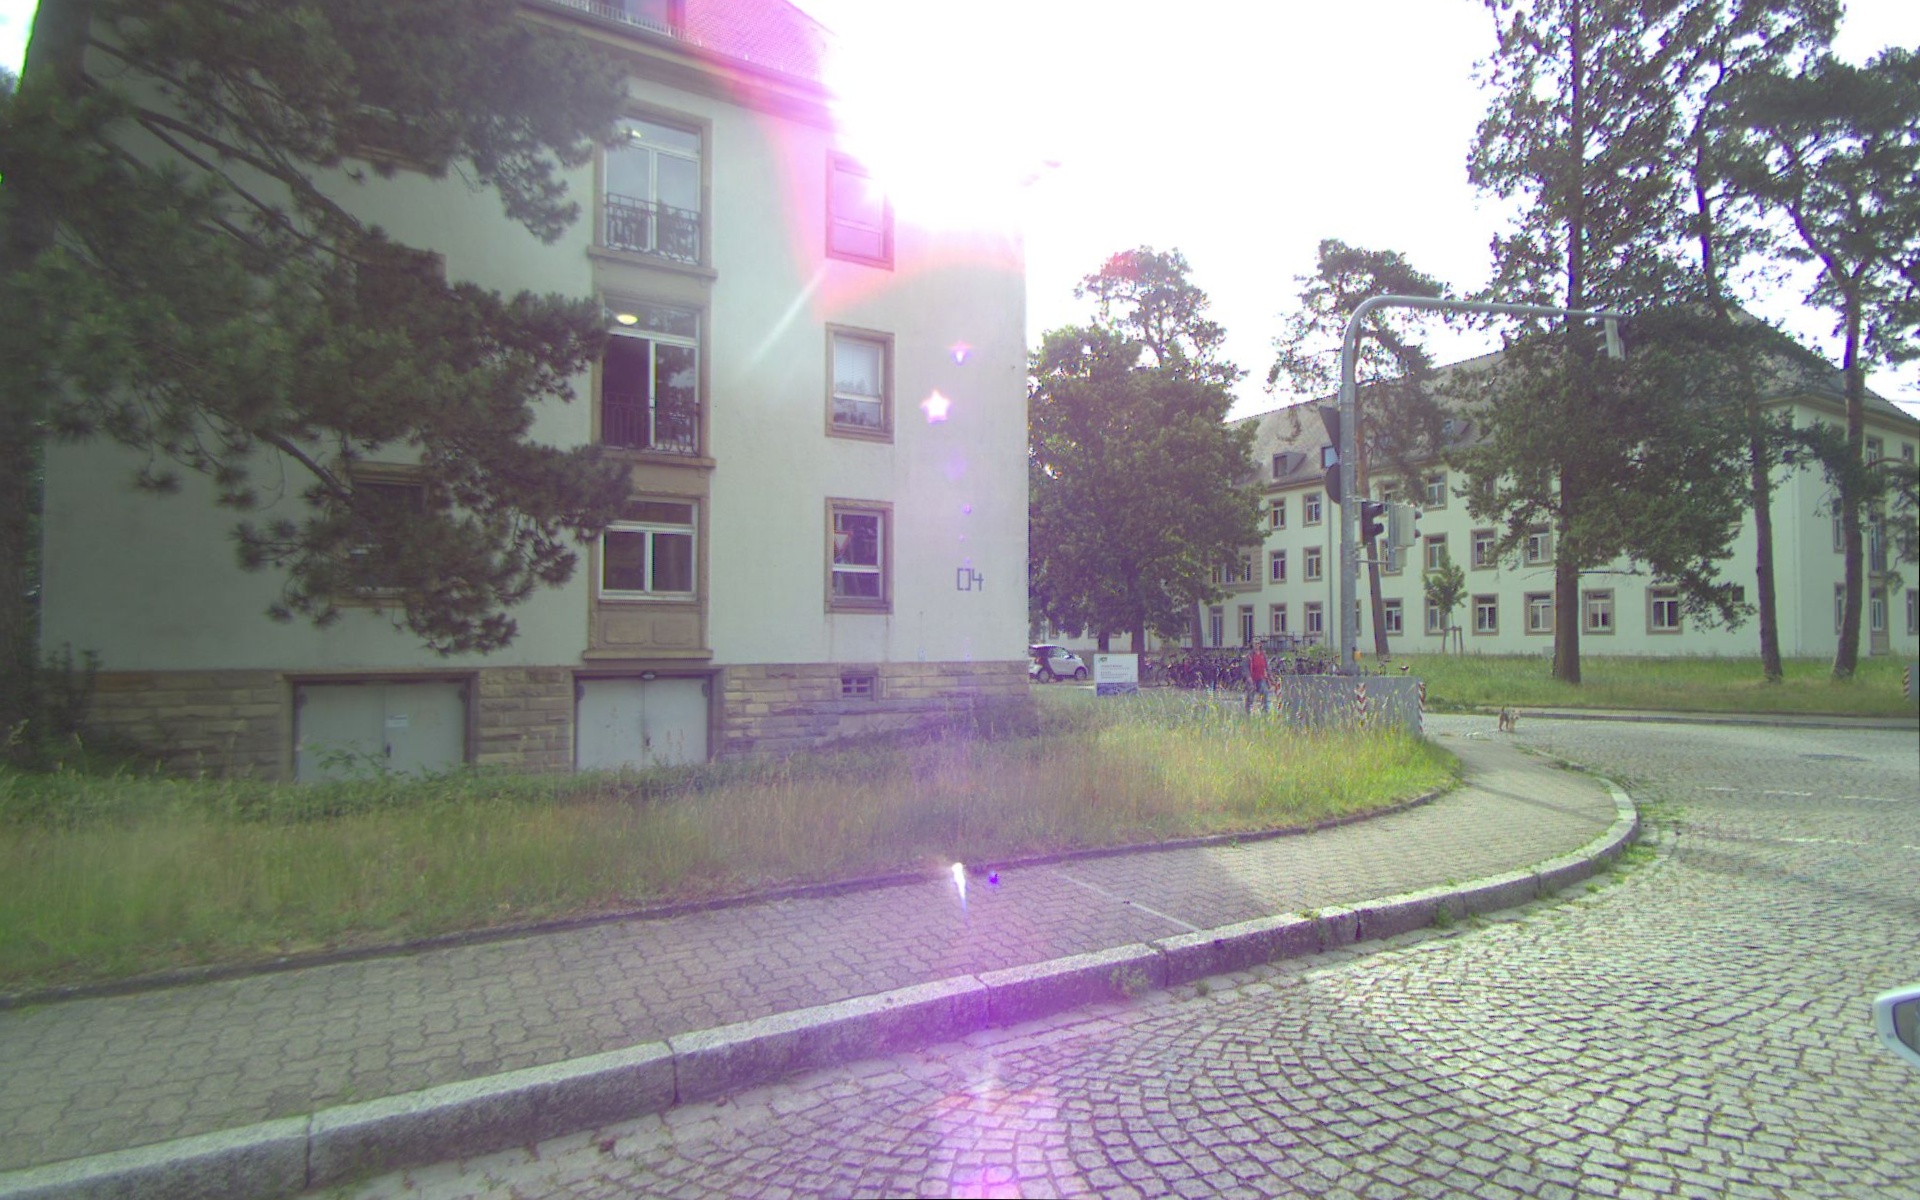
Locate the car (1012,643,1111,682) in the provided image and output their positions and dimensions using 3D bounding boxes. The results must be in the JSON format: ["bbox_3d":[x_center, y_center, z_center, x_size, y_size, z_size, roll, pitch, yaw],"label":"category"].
[{"bbox_3d":[4.327,2.633,42.598,3.851,1.576,1.831,1,-3,-30],"label":"car"}]

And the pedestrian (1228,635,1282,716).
[{"bbox_3d":[6.321,1.606,21.559,0.921,1.690,0.863,0,-2,3],"label":"pedestrian"}]

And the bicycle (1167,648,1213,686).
[{"bbox_3d":[7.889,2.287,34.436,1.677,1.300,0.447,1,-3,-32],"label":"bicycle"}]

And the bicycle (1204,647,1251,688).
[{"bbox_3d":[8.792,2.207,32.983,1.677,1.300,0.447,1,-3,-32],"label":"bicycle"}]

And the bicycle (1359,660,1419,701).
[{"bbox_3d":[11.164,2.079,26.171,0.447,1.009,1.453,1,-3,-29],"label":"bicycle"}]

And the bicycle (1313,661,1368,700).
[{"bbox_3d":[10.390,2.197,27.480,0.447,1.009,1.453,1,-3,-29],"label":"bicycle"}]

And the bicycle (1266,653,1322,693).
[{"bbox_3d":[10.192,2.217,30.644,1.909,1.193,0.525,1,-3,-32],"label":"bicycle"}]

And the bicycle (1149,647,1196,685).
[{"bbox_3d":[7.482,2.306,35.279,1.807,1.300,0.447,1,-3,-32],"label":"bicycle"}]

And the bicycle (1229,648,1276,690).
[{"bbox_3d":[9.368,2.193,32.143,1.677,1.300,0.447,1,-3,-32],"label":"bicycle"}]

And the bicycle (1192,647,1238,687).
[{"bbox_3d":[8.493,2.216,33.459,1.677,1.300,0.447,1,-3,-32],"label":"bicycle"}]

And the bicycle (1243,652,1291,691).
[{"bbox_3d":[9.632,2.231,31.469,1.677,1.193,0.447,1,-3,-32],"label":"bicycle"}]

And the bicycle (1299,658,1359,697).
[{"bbox_3d":[10.866,2.263,29.559,1.974,1.092,0.572,1,-3,-32],"label":"bicycle"}]

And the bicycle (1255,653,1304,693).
[{"bbox_3d":[9.889,2.237,31.059,1.677,1.193,0.447,1,-3,-32],"label":"bicycle"}]

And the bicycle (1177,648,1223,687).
[{"bbox_3d":[8.141,2.280,34.020,1.677,1.300,0.447,1,-3,-32],"label":"bicycle"}]

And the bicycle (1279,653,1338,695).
[{"bbox_3d":[10.458,2.206,30.124,1.932,1.193,0.572,1,-3,-32],"label":"bicycle"}]

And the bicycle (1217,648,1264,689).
[{"bbox_3d":[9.083,2.200,32.559,1.677,1.300,0.447,1,-3,-32],"label":"bicycle"}]

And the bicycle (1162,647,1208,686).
[{"bbox_3d":[7.823,2.302,34.945,1.765,1.300,0.440,1,-3,-32],"label":"bicycle"}]

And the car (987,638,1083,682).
[{"bbox_3d":[3.425,2.733,45.975,4.087,1.932,1.831,1,-3,-30],"label":"car"}]

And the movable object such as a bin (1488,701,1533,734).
[{"bbox_3d":[9.862,2.101,18.015,0.436,0.510,0.752,-1,-1,5],"label":"movable object such as a bin"}]
